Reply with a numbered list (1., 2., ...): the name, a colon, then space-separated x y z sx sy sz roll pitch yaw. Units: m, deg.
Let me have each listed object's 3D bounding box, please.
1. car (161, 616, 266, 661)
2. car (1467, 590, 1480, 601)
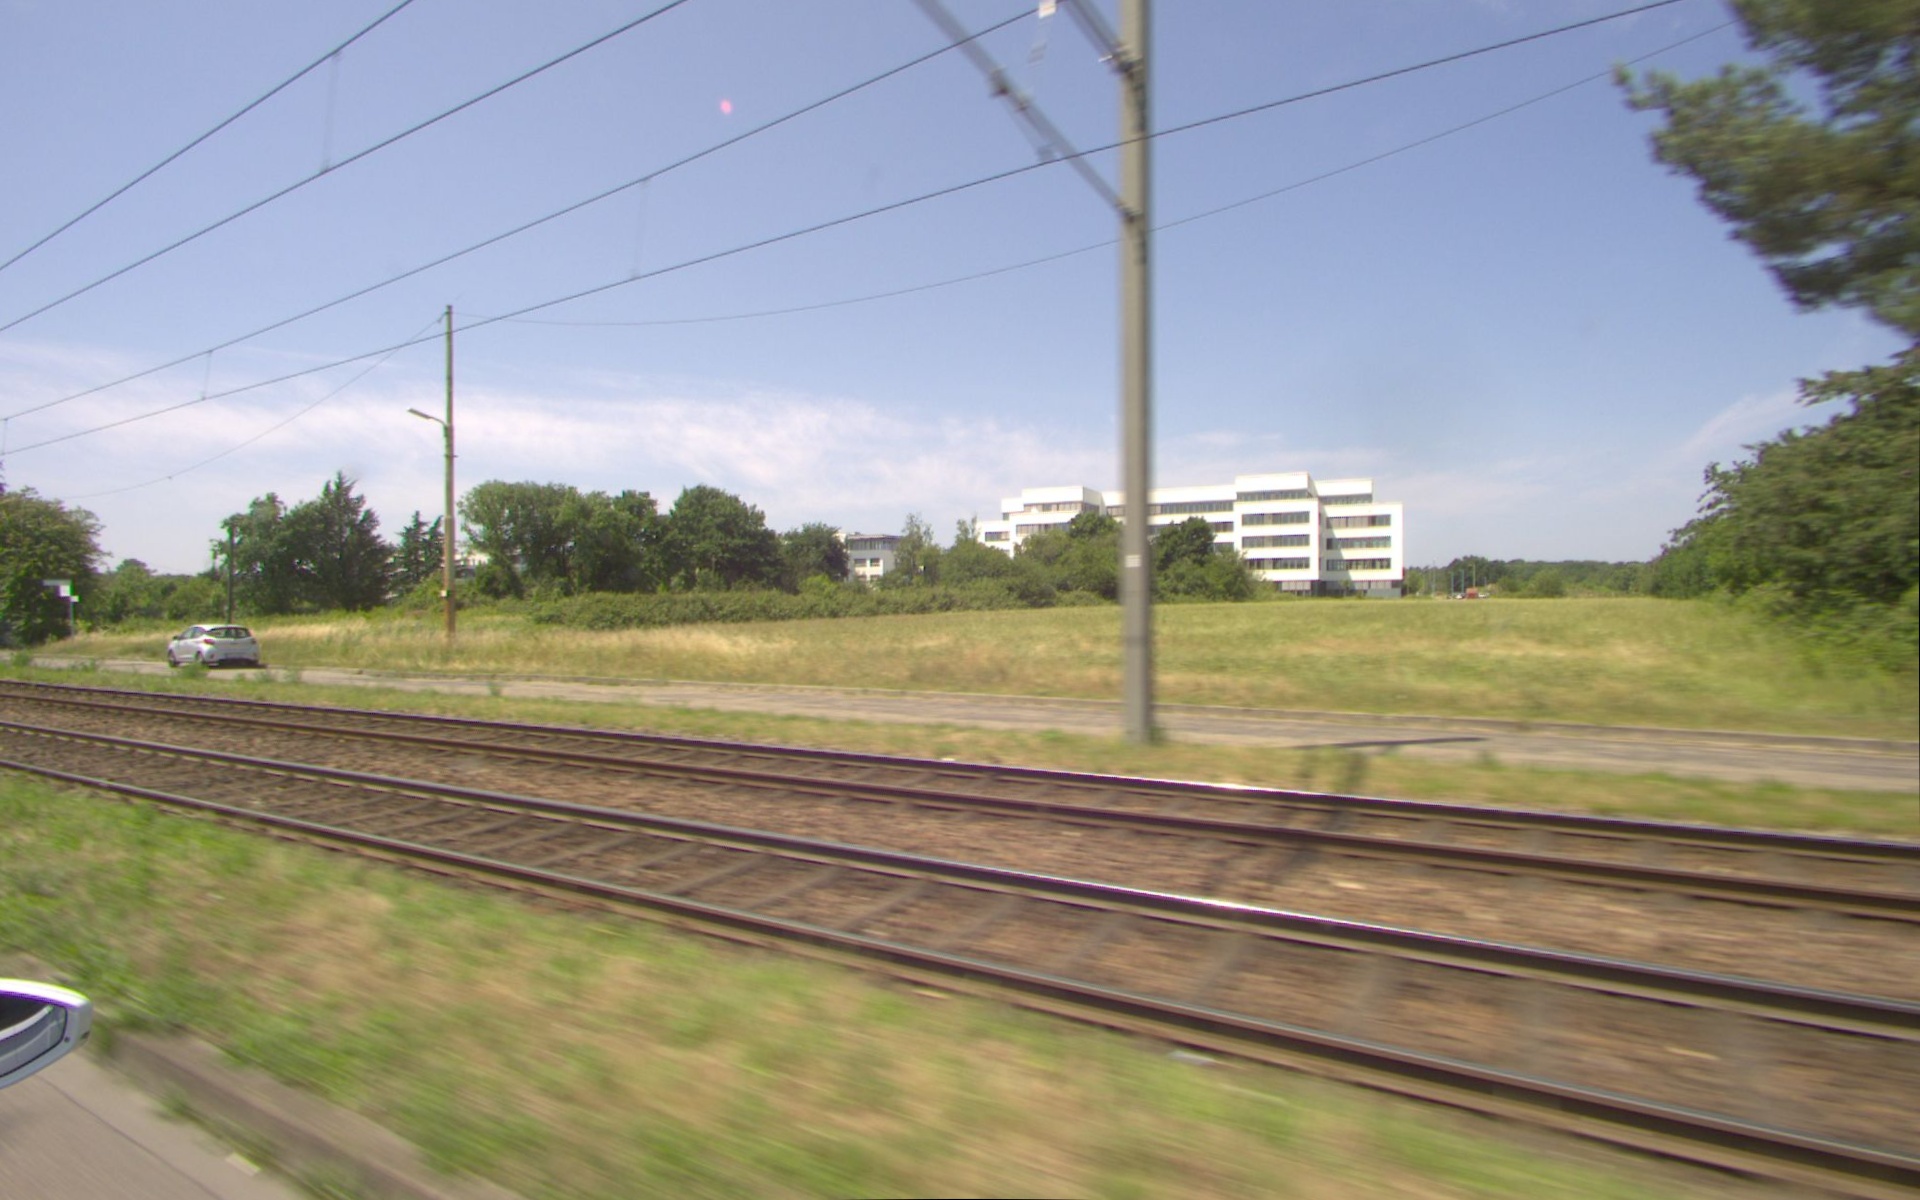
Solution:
1. car: -26.124 1.322 35.013 3.945 1.508 1.709 -1 -1 33
2. car: 91.093 -0.793 177.605 1.836 1.940 4.667 0 -1 28
